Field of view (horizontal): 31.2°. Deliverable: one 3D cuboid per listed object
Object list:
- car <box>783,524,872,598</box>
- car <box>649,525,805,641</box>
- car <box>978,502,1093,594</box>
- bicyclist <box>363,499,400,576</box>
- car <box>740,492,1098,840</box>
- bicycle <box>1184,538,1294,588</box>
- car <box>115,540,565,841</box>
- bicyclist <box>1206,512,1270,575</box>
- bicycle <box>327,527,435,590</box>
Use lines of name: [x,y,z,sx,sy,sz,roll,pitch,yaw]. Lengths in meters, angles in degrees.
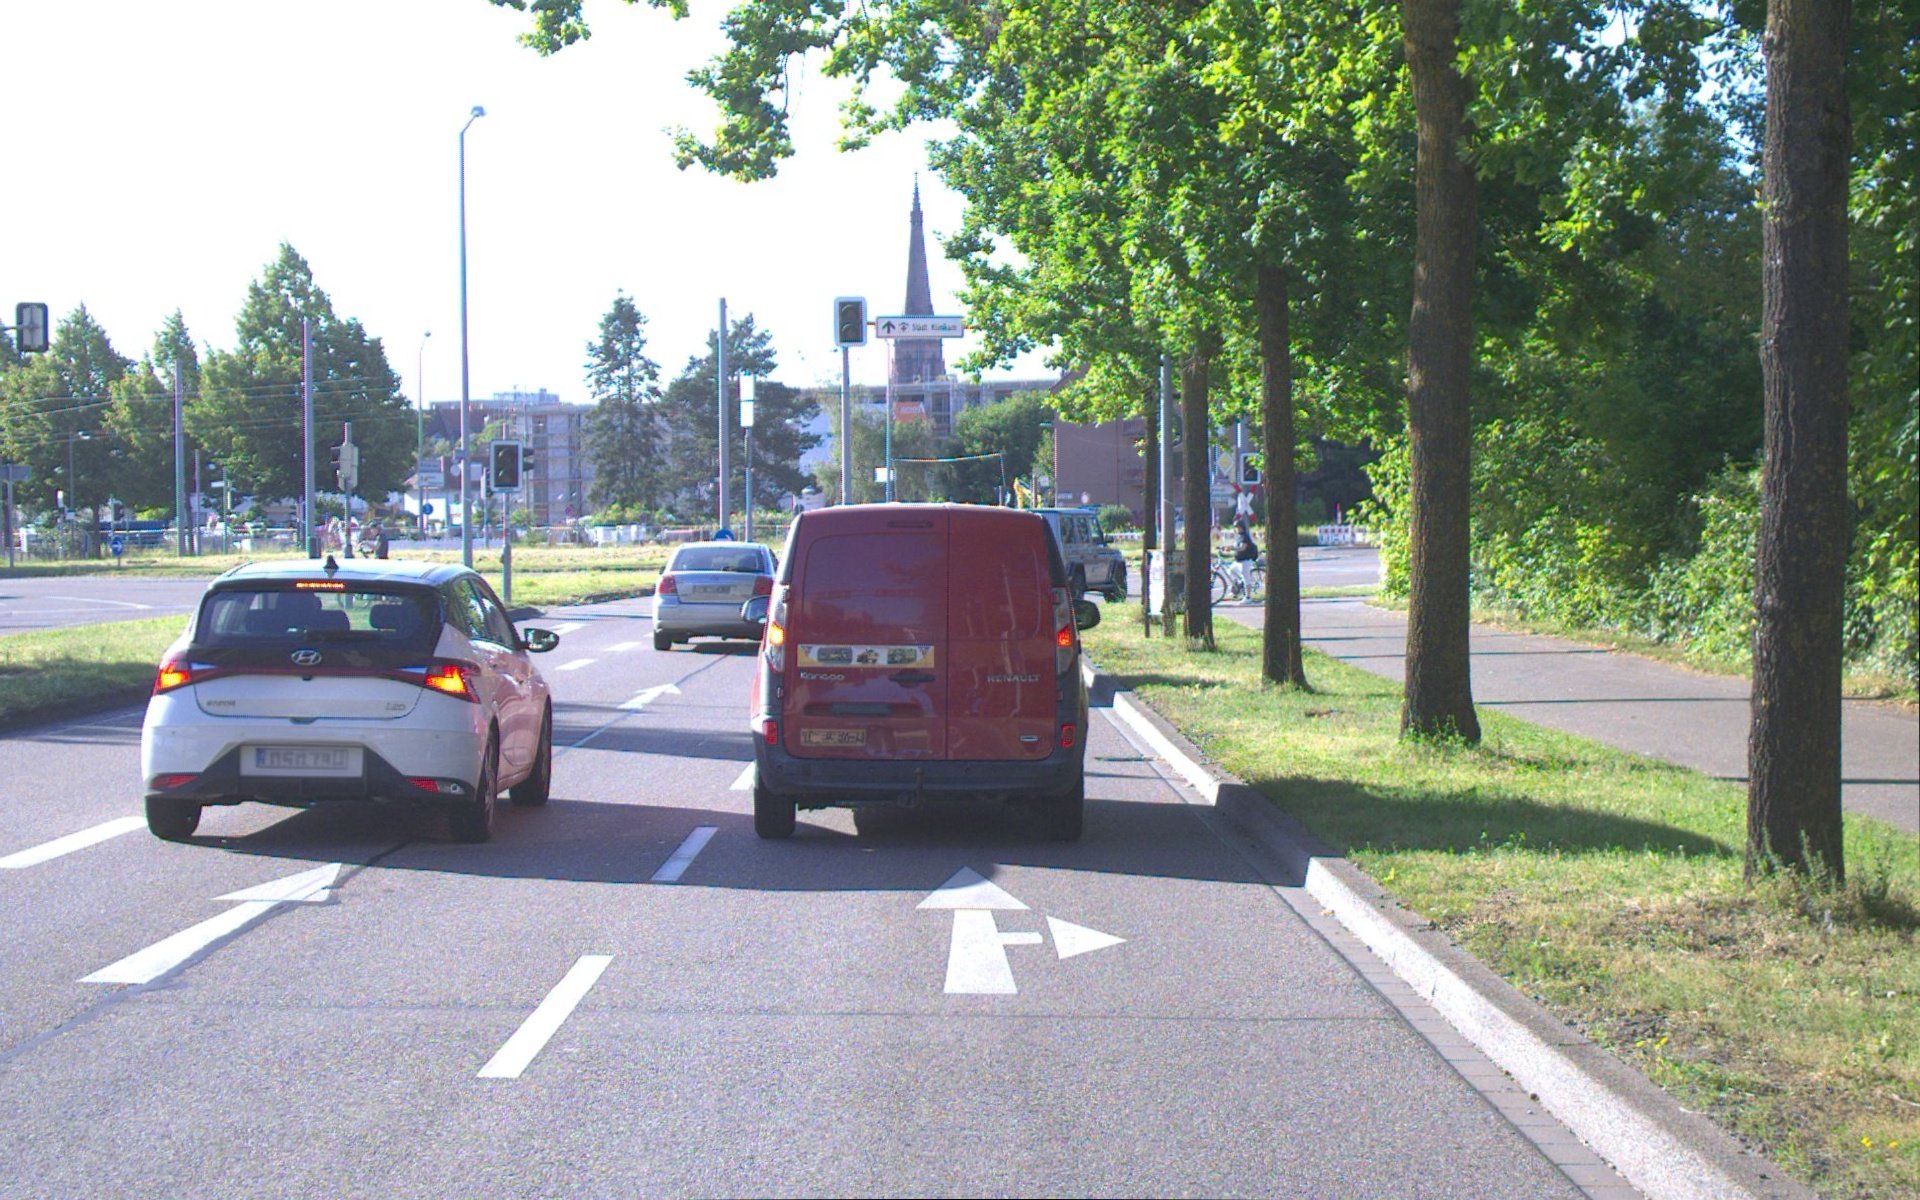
car: [-2.610,-0.790,68.382,1.661,1.393,3.559,-1,2,-1]
car: [-3.147,-0.265,47.114,1.841,1.451,4.163,1,2,0]
car: [1.508,-1.042,67.744,1.660,1.755,3.496,0,1,11]
bicyclist: [-11.099,-1.196,65.967,0.603,1.463,0.517,-1,1,-1]
car: [-0.232,0.277,19.484,1.806,1.753,4.006,1,2,-1]
bicycle: [5.573,-0.750,68.600,2.119,0.954,0.789,-1,1,-32]
car: [-3.282,0.409,18.945,1.778,1.404,4.075,0,2,-1]
bicyclist: [5.547,-1.129,68.580,0.968,1.245,0.789,-1,1,-32]
bicycle: [-11.107,-0.798,65.977,1.958,1.162,0.517,-1,1,-1]
